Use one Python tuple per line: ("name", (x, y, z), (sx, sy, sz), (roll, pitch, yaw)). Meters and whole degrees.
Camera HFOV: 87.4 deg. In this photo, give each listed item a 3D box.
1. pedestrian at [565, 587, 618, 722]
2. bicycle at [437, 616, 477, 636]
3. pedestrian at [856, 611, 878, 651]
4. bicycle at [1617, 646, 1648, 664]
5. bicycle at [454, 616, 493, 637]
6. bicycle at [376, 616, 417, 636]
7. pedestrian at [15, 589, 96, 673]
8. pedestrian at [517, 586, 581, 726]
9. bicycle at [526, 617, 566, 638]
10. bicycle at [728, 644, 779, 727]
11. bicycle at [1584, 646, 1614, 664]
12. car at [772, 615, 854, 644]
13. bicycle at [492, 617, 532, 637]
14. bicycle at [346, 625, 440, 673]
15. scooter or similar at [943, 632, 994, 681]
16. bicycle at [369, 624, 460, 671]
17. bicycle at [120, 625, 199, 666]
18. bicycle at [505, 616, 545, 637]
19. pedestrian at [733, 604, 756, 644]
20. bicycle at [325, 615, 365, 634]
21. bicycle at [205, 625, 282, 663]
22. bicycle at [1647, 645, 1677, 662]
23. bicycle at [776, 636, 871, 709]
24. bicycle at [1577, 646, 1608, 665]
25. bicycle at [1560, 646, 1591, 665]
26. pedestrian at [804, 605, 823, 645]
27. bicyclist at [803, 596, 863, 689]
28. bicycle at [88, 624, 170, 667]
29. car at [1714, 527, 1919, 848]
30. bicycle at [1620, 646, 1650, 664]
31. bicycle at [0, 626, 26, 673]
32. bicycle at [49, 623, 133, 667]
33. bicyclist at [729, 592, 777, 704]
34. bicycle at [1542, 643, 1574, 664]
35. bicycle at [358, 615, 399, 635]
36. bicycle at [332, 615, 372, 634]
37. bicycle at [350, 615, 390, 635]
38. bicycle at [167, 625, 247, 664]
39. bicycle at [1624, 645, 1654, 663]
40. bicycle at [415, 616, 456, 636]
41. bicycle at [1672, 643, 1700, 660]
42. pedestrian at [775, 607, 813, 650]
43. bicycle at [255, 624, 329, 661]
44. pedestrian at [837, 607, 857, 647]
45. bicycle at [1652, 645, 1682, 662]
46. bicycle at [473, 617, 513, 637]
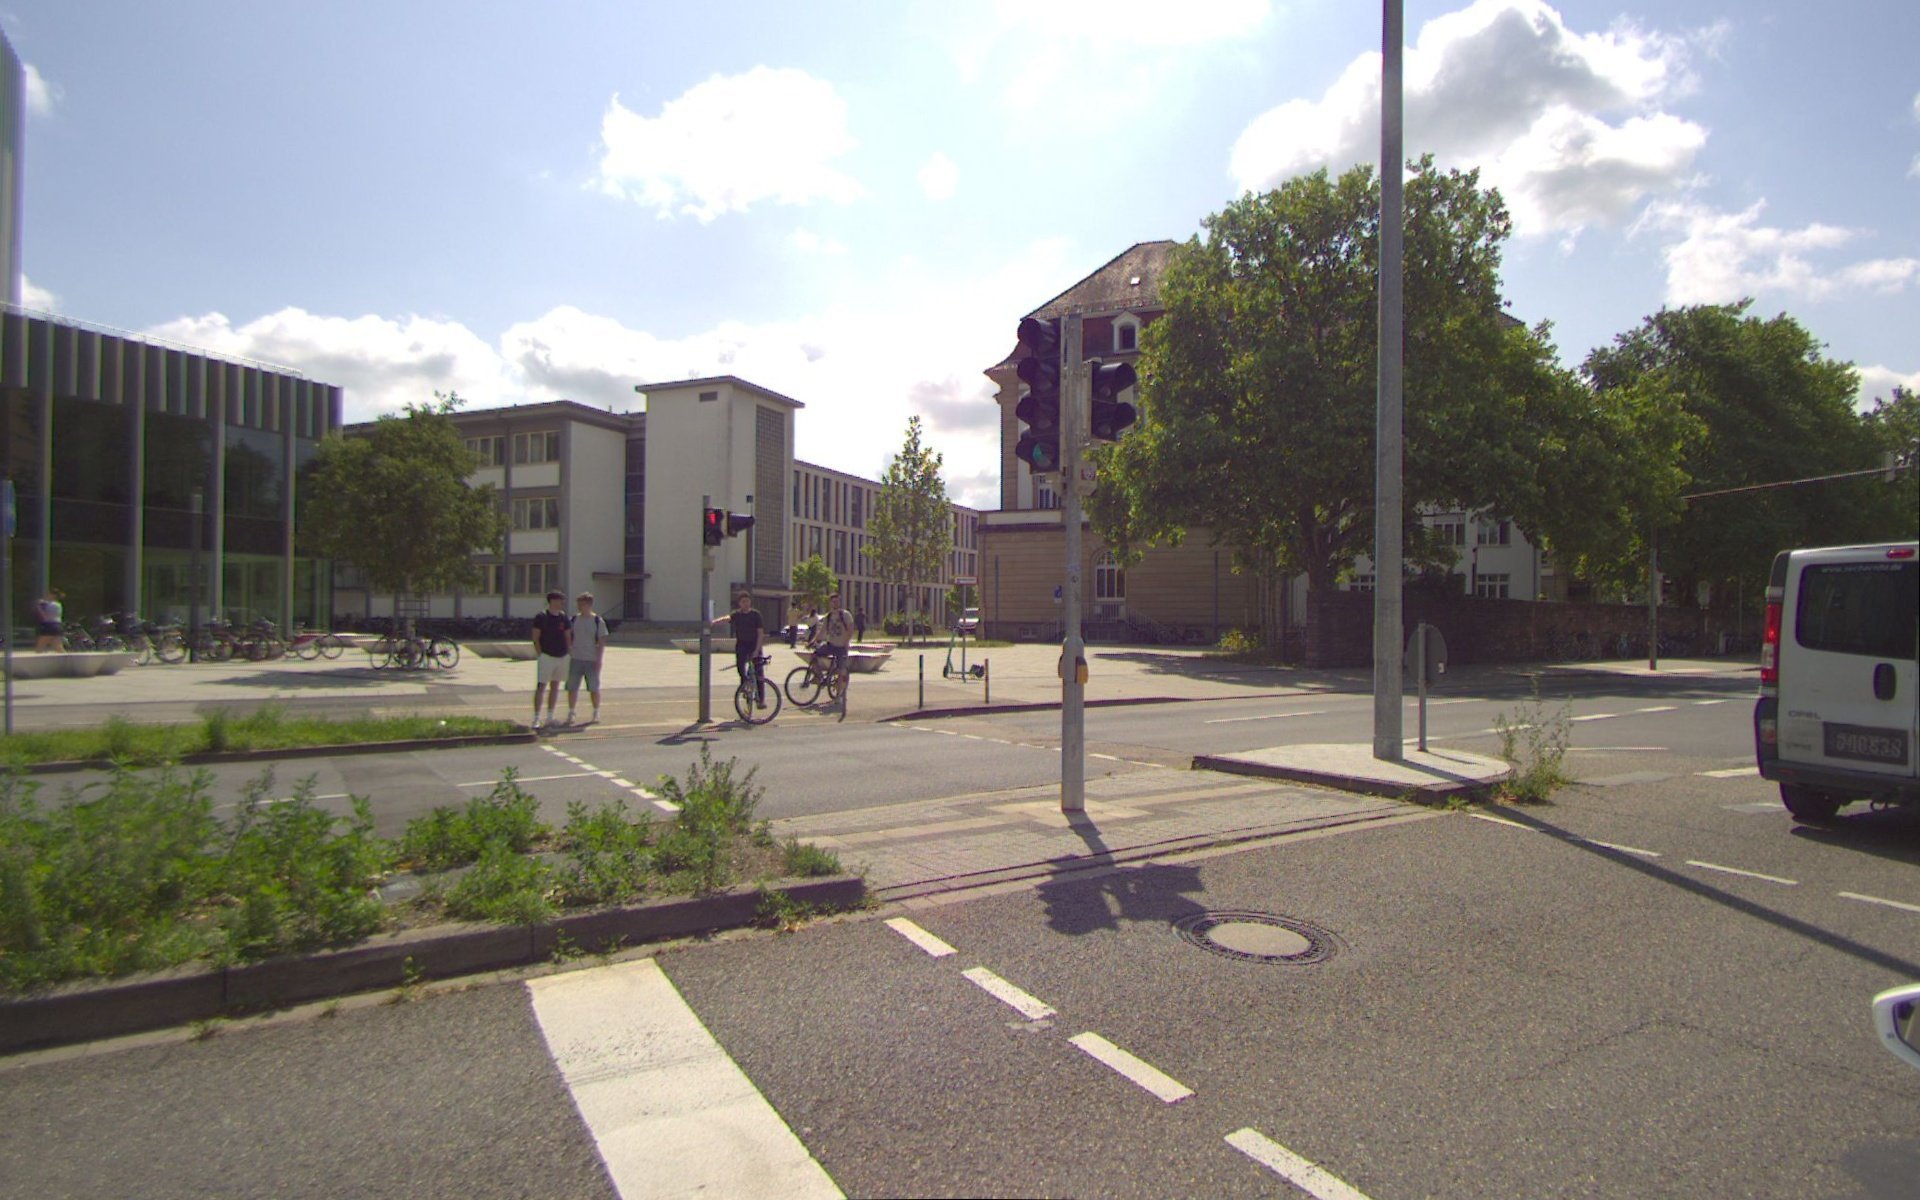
("pedestrian", (-5.233, 0.762, 14.269), (0.570, 1.866, 0.411), (1, 0, -37))
("bicycle", (-25.121, 1.323, 50.207), (0.519, 0.968, 1.770), (2, 0, 29))
("pedestrian", (-4.290, 1.437, 46.469), (0.851, 1.813, 0.841), (1, -1, -16))
("bicycle", (28.086, 2.291, 41.943), (0.987, 0.691, 0.409), (2, 0, 20))
("bicycle", (-24.115, 1.319, 49.810), (0.519, 0.968, 1.770), (2, 0, 29))
("bicycle", (-28.726, 1.318, 51.248), (0.519, 0.968, 1.770), (2, 0, 29))
("pedestrian", (-18.635, 0.630, 20.727), (1.004, 1.672, 1.172), (1, -1, -32))
("pedestrian", (-5.643, 0.748, 13.793), (0.473, 1.866, 0.629), (1, 0, 43))
("bicycle", (-19.698, 1.334, 47.829), (0.520, 0.968, 1.769), (2, 0, 32))
("bicycle", (-3.135, 1.253, 15.135), (0.683, 1.139, 1.667), (1, -1, -14))
("bicycle", (25.818, 2.217, 40.606), (0.990, 0.691, 0.408), (2, 0, 33))
("car", (-7.429, 1.479, 51.217), (1.962, 1.323, 4.490), (2, 0, 26))
("bicycle", (-21.734, 1.312, 48.735), (0.519, 0.968, 1.770), (2, 0, 29))
("bicycle", (-12.185, 1.041, 21.605), (1.737, 0.968, 0.529), (1, 0, 6))
("scooter or similar", (0.188, 1.302, 23.301), (1.131, 1.081, 0.402), (0, -1, 31))
("bicycle", (-12.039, 1.039, 22.189), (1.737, 0.968, 0.529), (1, 0, 6))
("bicycle", (-19.926, 1.123, 25.013), (1.737, 0.968, 0.529), (1, -1, 12))
("bicycle", (-20.899, 1.291, 48.310), (0.519, 0.968, 1.770), (2, 0, 29))
("pedestrian", (-9.866, 1.083, 45.987), (0.664, 1.813, 0.843), (0, -1, 23))
("bicycle", (-32.565, 1.296, 53.201), (0.519, 0.968, 1.770), (2, 0, 29))
("bicycle", (-19.031, 1.162, 26.687), (1.737, 0.968, 0.529), (1, 0, 6))
("bicycle", (31.282, 2.395, 44.756), (0.987, 0.691, 0.409), (2, 0, 20))
("bicycle", (-2.310, 1.207, 17.136), (0.683, 1.139, 1.667), (0, -1, 33))
("bicycle", (25.009, 2.191, 39.715), (0.990, 0.691, 0.408), (2, 0, 33))
("bicycle", (23.857, 2.153, 38.955), (0.990, 0.691, 0.408), (2, 0, 33))
("pedestrian", (-6.748, 1.149, 46.378), (0.799, 1.813, 0.843), (1, -1, -5))
("bicyclist", (-2.184, 0.715, 17.315), (0.646, 1.559, 0.784), (0, -1, 33))
("bicycle", (-20.150, 1.091, 24.359), (1.737, 0.968, 0.529), (1, -1, 12))
("car", (8.125, 0.589, 7.540), (5.130, 1.981, 1.997), (1, 0, -29))
("bicycle", (28.531, 2.305, 42.468), (0.987, 0.691, 0.409), (2, 0, 20))
("bicycle", (-21.307, 1.048, 21.878), (1.737, 0.968, 0.529), (2, 0, 15))
("bicycle", (-20.446, 1.058, 23.629), (1.737, 0.968, 0.529), (1, -1, 12))
("bicyclist", (-3.143, 0.706, 15.187), (0.646, 1.637, 0.996), (1, -1, -14))
("bicycle", (22.371, 1.998, 37.558), (0.990, 0.691, 0.408), (2, 0, 33))
("bicycle", (-29.927, 1.294, 51.713), (0.519, 0.968, 1.770), (2, 0, 29))
("bicycle", (-31.996, 1.277, 52.893), (0.519, 0.968, 1.770), (2, 0, 29))
("bicycle", (-30.660, 1.302, 52.203), (0.519, 0.968, 1.770), (2, 0, 29))
("bicycle", (-19.486, 1.143, 26.004), (1.737, 0.968, 0.529), (1, 0, 6))
("bicycle", (29.075, 2.323, 43.008), (0.987, 0.691, 0.409), (2, 0, 20))
("bicycle", (-26.317, 1.309, 50.410), (0.519, 0.968, 1.770), (2, 0, 29))
("bicycle", (34.068, 2.416, 47.144), (0.987, 0.691, 0.409), (2, 0, 20))
("pedestrian", (-6.560, 1.122, 39.655), (1.280, 1.673, 1.320), (1, -1, -20))
("bicycle", (-18.580, 1.179, 27.943), (1.737, 0.968, 0.529), (1, 0, 6))
("pedestrian", (-5.212, 1.245, 46.399), (0.876, 1.813, 0.842), (1, -1, -9))
("bicycle", (31.762, 2.410, 45.146), (0.987, 0.691, 0.409), (2, 0, 20))
("bicycle", (-22.915, 1.320, 49.306), (0.519, 0.968, 1.770), (2, 0, 29))
